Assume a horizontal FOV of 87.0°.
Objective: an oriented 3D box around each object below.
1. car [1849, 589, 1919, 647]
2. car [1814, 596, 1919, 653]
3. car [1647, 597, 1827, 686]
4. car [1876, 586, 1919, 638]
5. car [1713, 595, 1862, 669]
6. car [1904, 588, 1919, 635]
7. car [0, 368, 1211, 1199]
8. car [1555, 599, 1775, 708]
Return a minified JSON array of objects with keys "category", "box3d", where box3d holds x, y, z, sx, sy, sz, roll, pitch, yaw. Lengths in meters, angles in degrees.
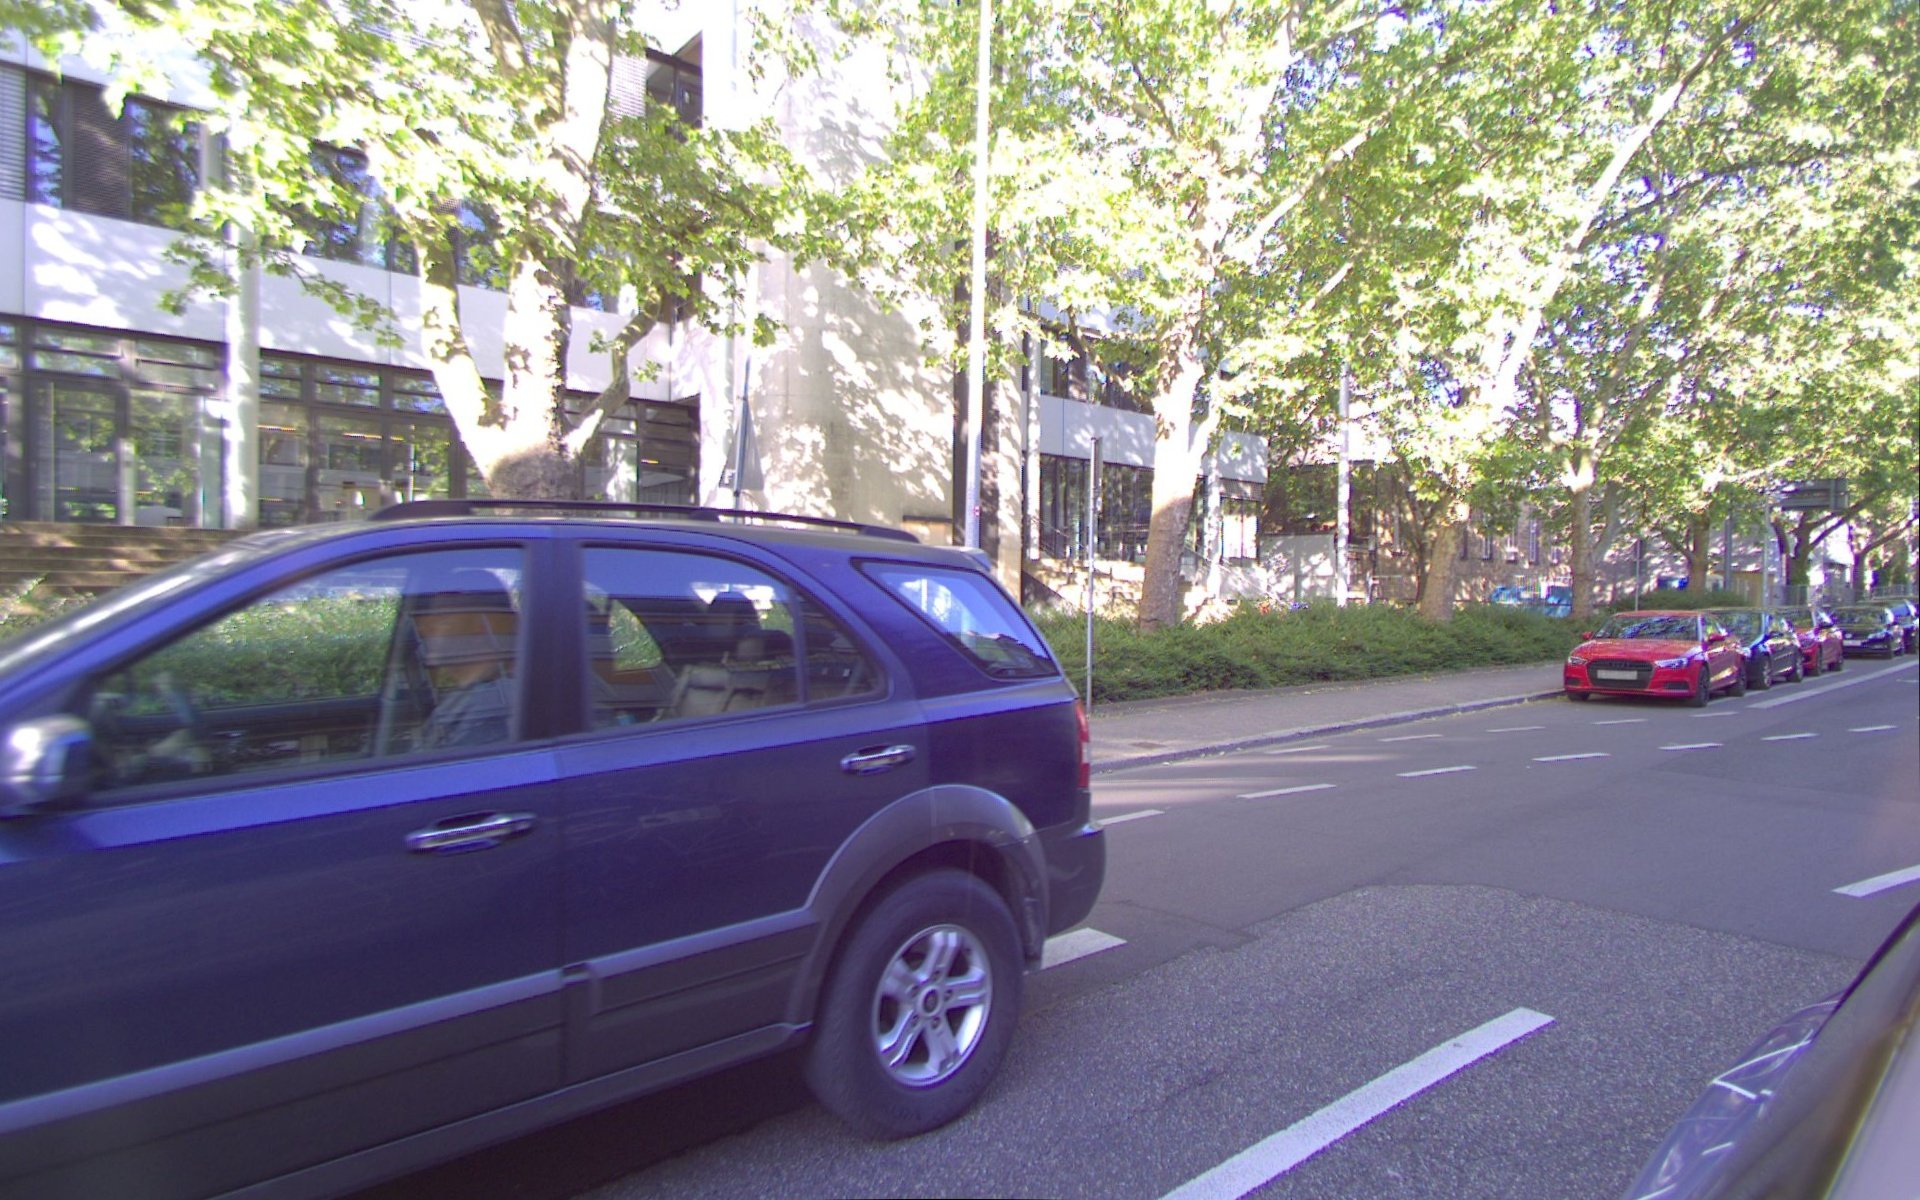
[{"category":"car","box3d":[29.569,0.515,31.807,4.403,1.689,1.865,0,0,-41]},{"category":"car","box3d":[25.790,0.623,28.612,4.403,1.469,1.865,0,0,-41]},{"category":"car","box3d":[14.766,0.694,19.140,4.403,1.469,1.865,0,0,-41]},{"category":"car","box3d":[33.907,0.396,35.698,4.403,1.781,1.865,0,0,-41]},{"category":"car","box3d":[18.434,0.638,22.478,4.403,1.469,1.865,0,0,-41]},{"category":"car","box3d":[38.873,0.445,39.968,4.403,1.781,1.865,0,0,-41]},{"category":"car","box3d":[-1.386,0.533,2.809,4.403,1.786,1.865,0,0,-41]},{"category":"car","box3d":[11.319,0.740,16.139,4.403,1.469,1.865,0,0,-41]}]
